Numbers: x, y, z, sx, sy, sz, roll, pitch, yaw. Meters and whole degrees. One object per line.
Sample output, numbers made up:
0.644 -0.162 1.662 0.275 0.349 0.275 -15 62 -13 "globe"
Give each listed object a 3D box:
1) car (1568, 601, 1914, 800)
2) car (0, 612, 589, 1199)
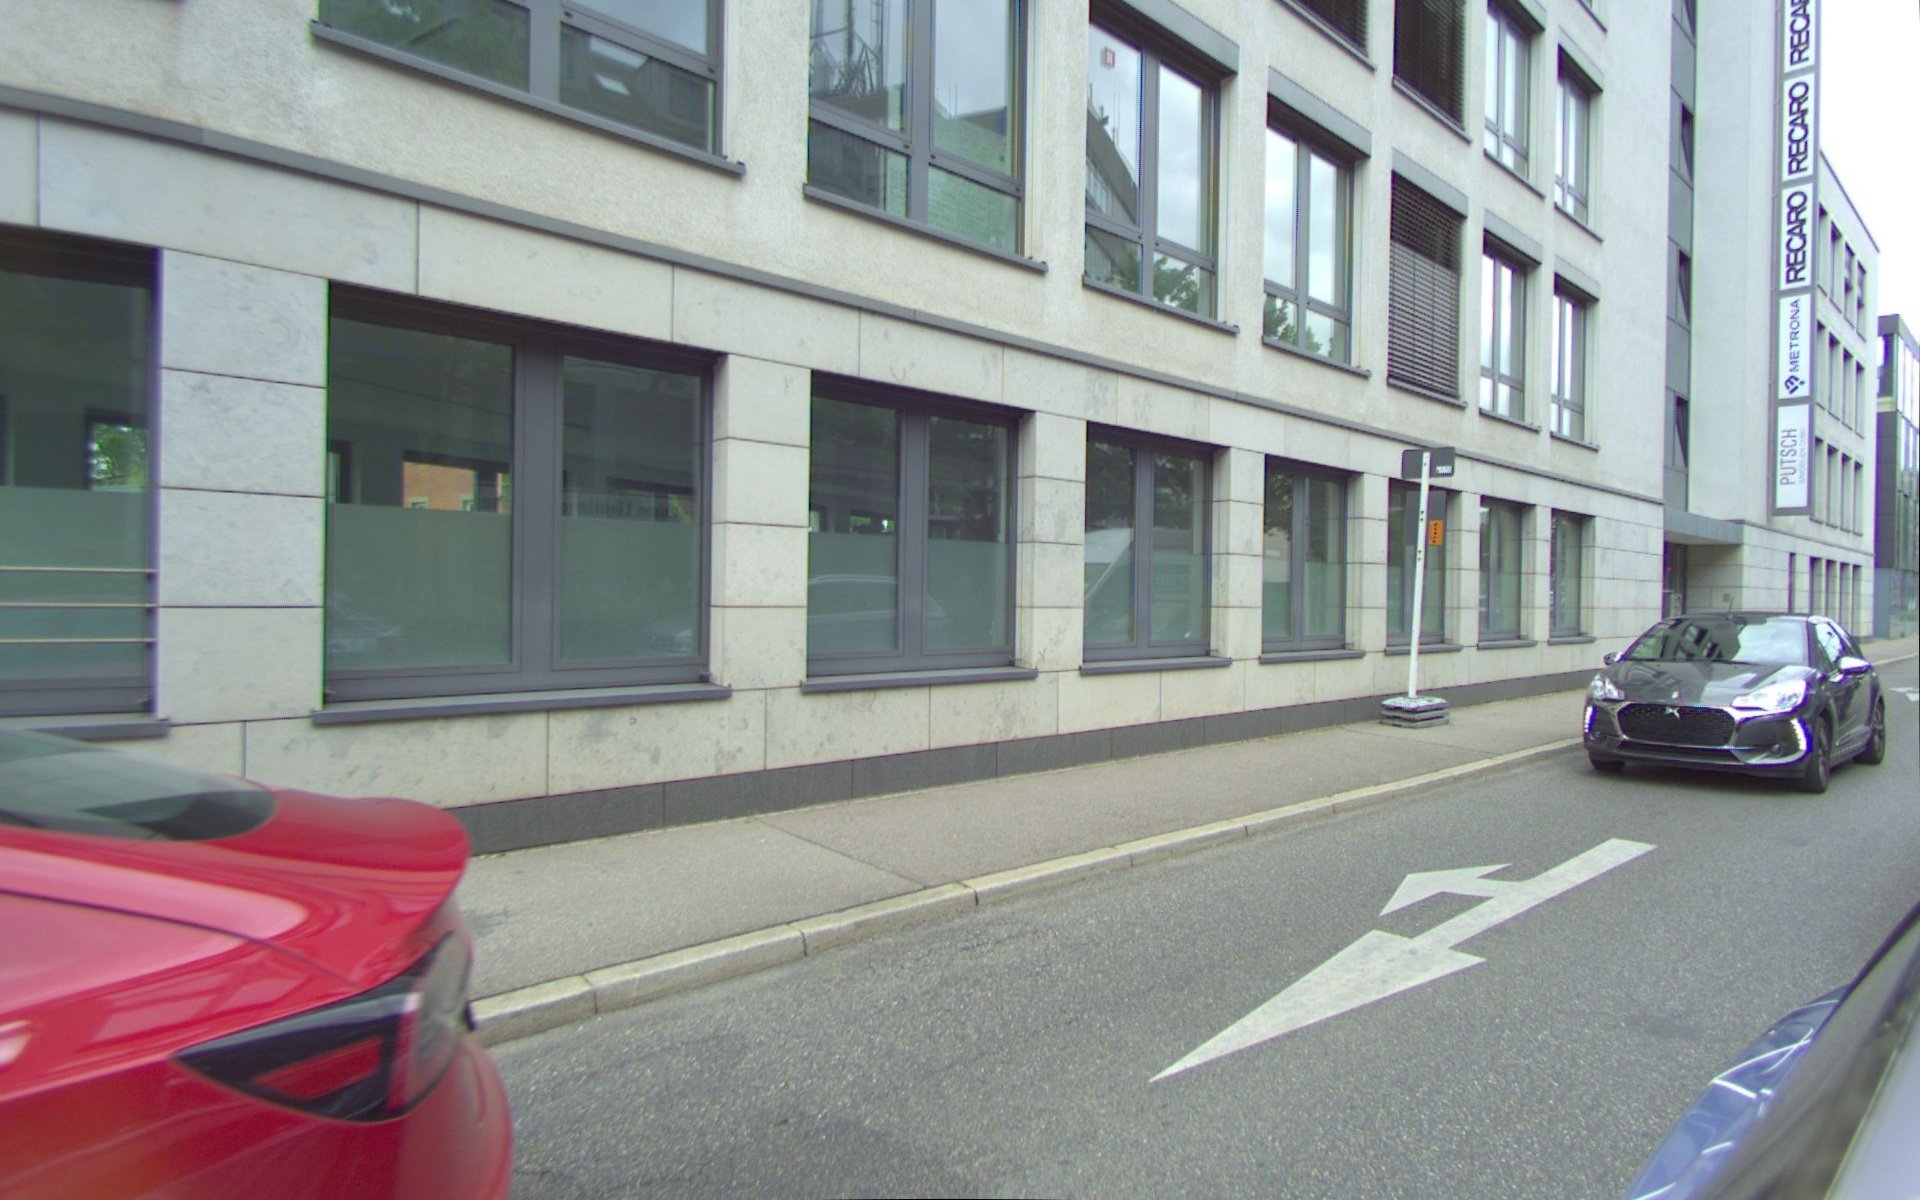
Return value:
7.439 0.761 9.510 3.989 1.479 1.704 0 -1 -39 "car"
-2.687 0.741 0.469 4.366 1.436 1.875 0 -1 -42 "car"
